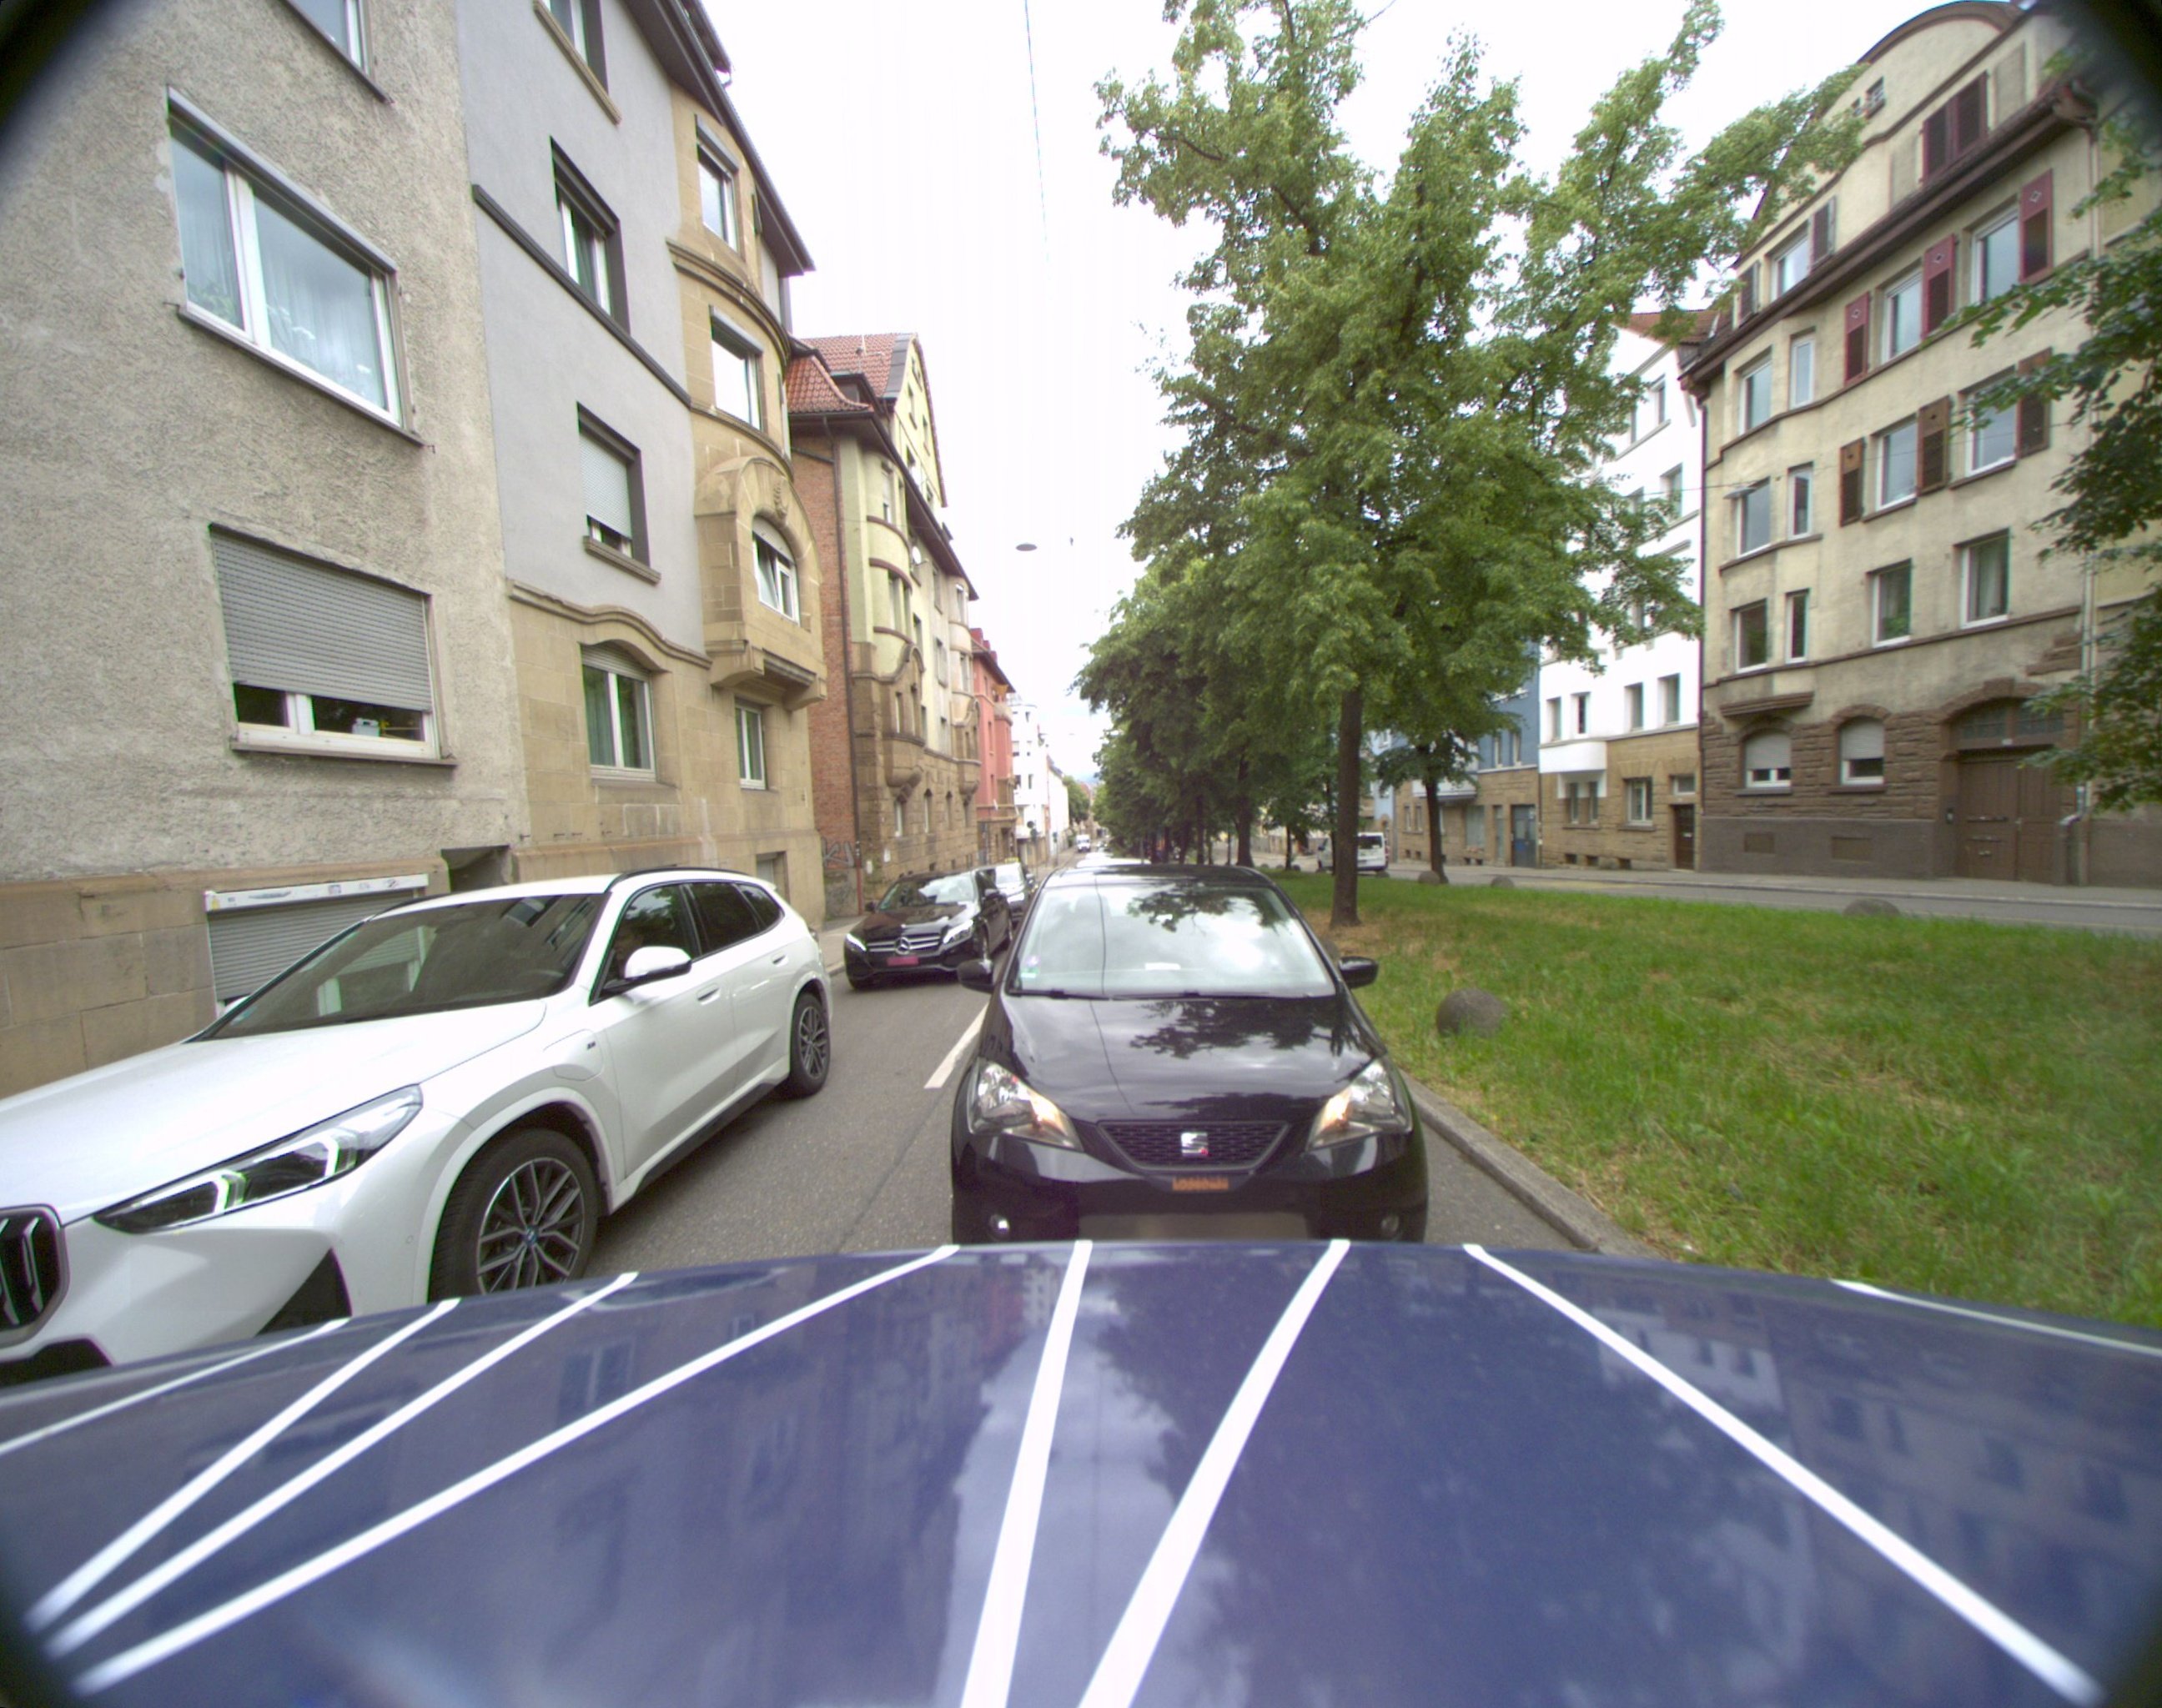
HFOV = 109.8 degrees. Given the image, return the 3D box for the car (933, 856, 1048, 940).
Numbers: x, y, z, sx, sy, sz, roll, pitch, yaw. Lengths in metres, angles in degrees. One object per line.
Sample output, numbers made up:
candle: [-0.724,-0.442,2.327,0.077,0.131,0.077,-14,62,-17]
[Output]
car: [-1.987,0.934,18.005,1.936,1.506,4.303,-6,1,2]

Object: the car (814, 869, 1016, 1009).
car: [-2.170,1.064,11.232,1.884,1.369,4.205,-6,1,1]

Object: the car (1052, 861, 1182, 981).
car: [0.499,0.901,11.831,1.664,1.456,3.580,-2,1,1]

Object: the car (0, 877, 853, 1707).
car: [-2.787,1.076,3.702,1.859,1.547,4.350,-6,1,0]

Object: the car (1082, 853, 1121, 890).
car: [0.906,0.766,34.592,1.607,1.492,3.737,-2,1,1]

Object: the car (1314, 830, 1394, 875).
car: [12.924,-0.068,36.367,1.998,1.933,5.307,-3,0,2]

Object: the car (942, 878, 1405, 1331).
car: [0.346,0.935,4.312,1.611,1.457,3.296,0,1,1]

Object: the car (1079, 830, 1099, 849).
car: [1.346,-2.364,123.412,2.715,2.879,6.454,-2,1,4]
